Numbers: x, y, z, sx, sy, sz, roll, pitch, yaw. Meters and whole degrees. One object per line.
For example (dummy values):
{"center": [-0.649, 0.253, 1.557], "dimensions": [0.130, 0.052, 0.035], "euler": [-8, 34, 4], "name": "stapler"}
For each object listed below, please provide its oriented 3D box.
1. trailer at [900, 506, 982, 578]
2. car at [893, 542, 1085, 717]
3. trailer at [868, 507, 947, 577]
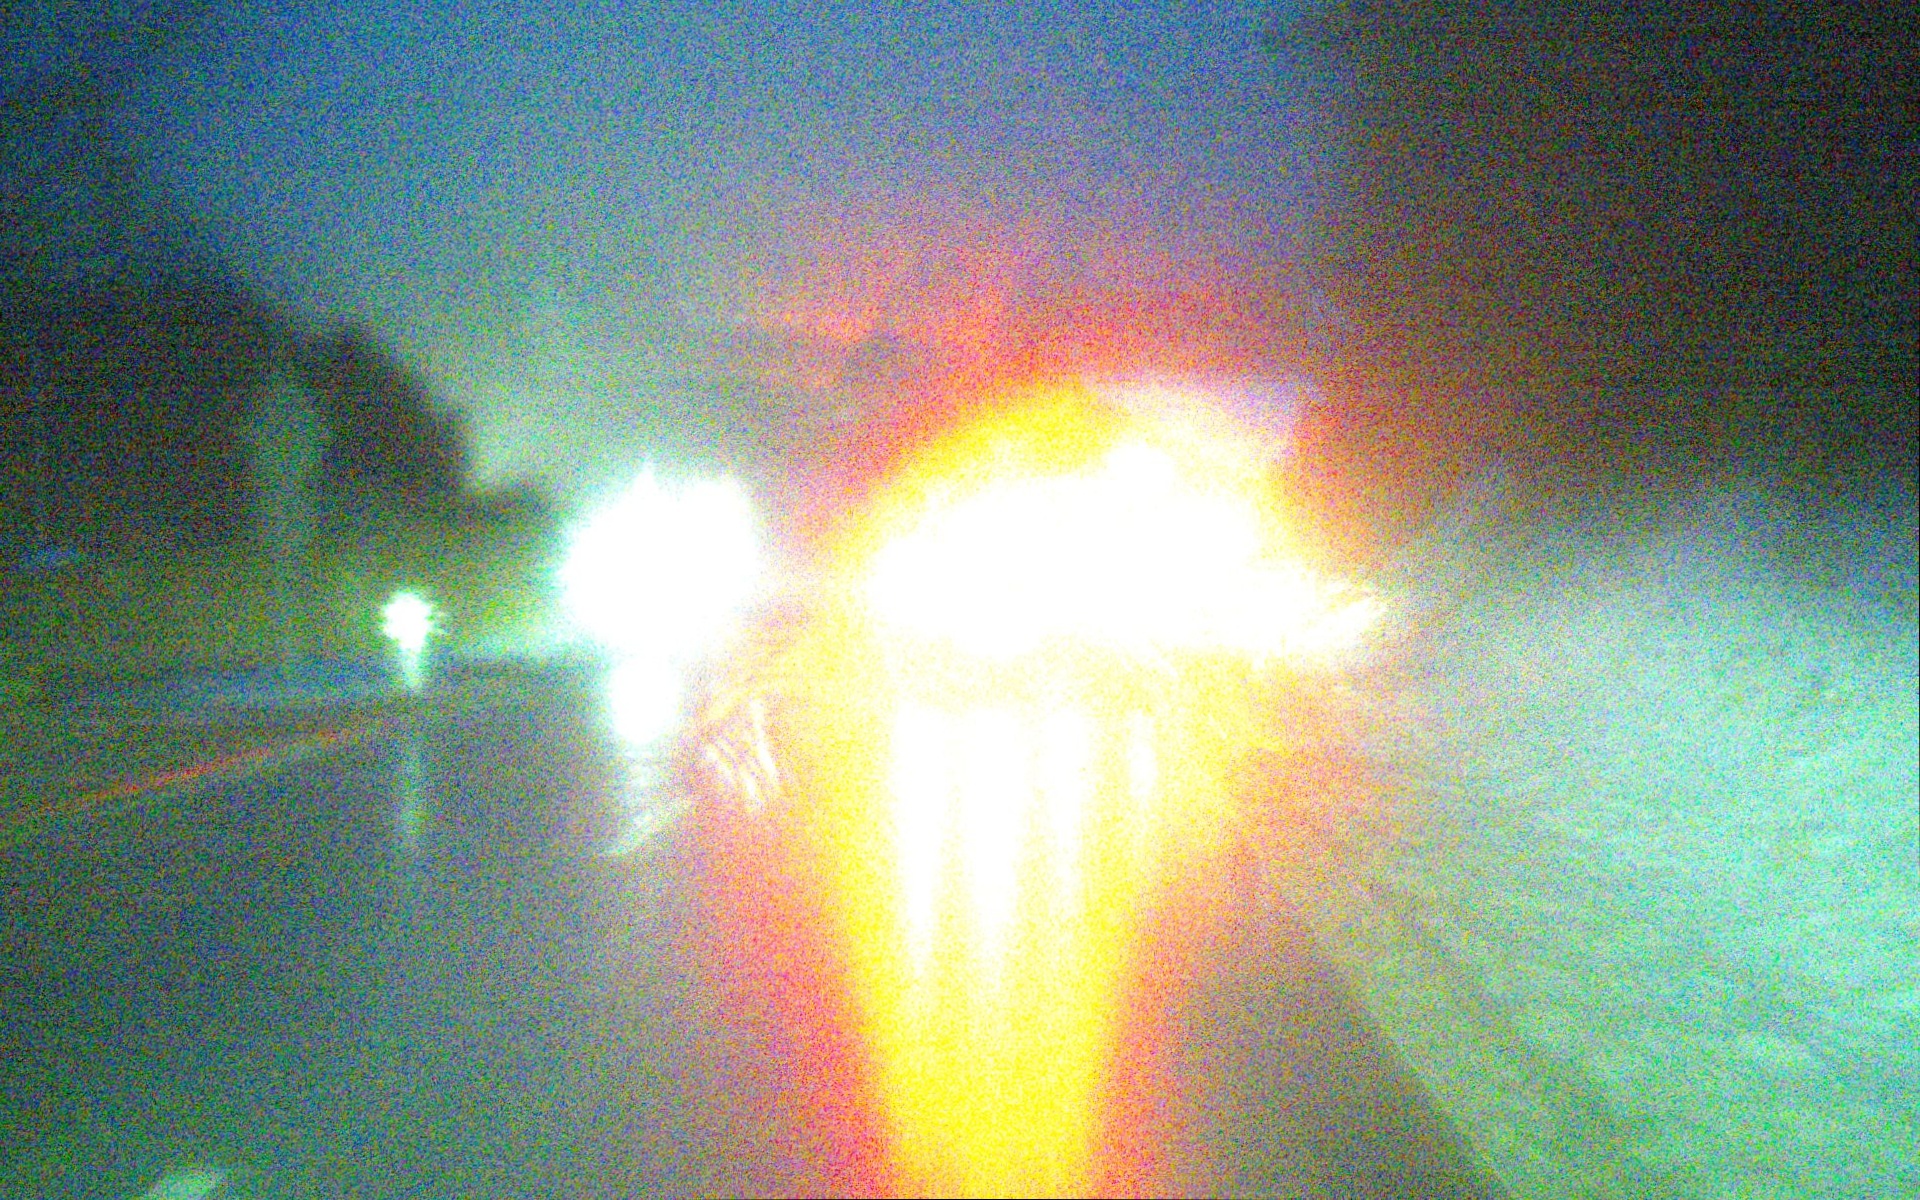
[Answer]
{"center": [-0.669, -1.929, 114.643], "dimensions": [1.605, 2.344, 4.432], "euler": [1, 0, -15], "name": "trailer"}
{"center": [0.335, 0.251, 34.334], "dimensions": [1.801, 1.623, 3.615], "euler": [-1, 1, 2], "name": "car"}
{"center": [-1.852, -2.012, 119.434], "dimensions": [1.629, 2.356, 4.654], "euler": [1, 0, -15], "name": "trailer"}
